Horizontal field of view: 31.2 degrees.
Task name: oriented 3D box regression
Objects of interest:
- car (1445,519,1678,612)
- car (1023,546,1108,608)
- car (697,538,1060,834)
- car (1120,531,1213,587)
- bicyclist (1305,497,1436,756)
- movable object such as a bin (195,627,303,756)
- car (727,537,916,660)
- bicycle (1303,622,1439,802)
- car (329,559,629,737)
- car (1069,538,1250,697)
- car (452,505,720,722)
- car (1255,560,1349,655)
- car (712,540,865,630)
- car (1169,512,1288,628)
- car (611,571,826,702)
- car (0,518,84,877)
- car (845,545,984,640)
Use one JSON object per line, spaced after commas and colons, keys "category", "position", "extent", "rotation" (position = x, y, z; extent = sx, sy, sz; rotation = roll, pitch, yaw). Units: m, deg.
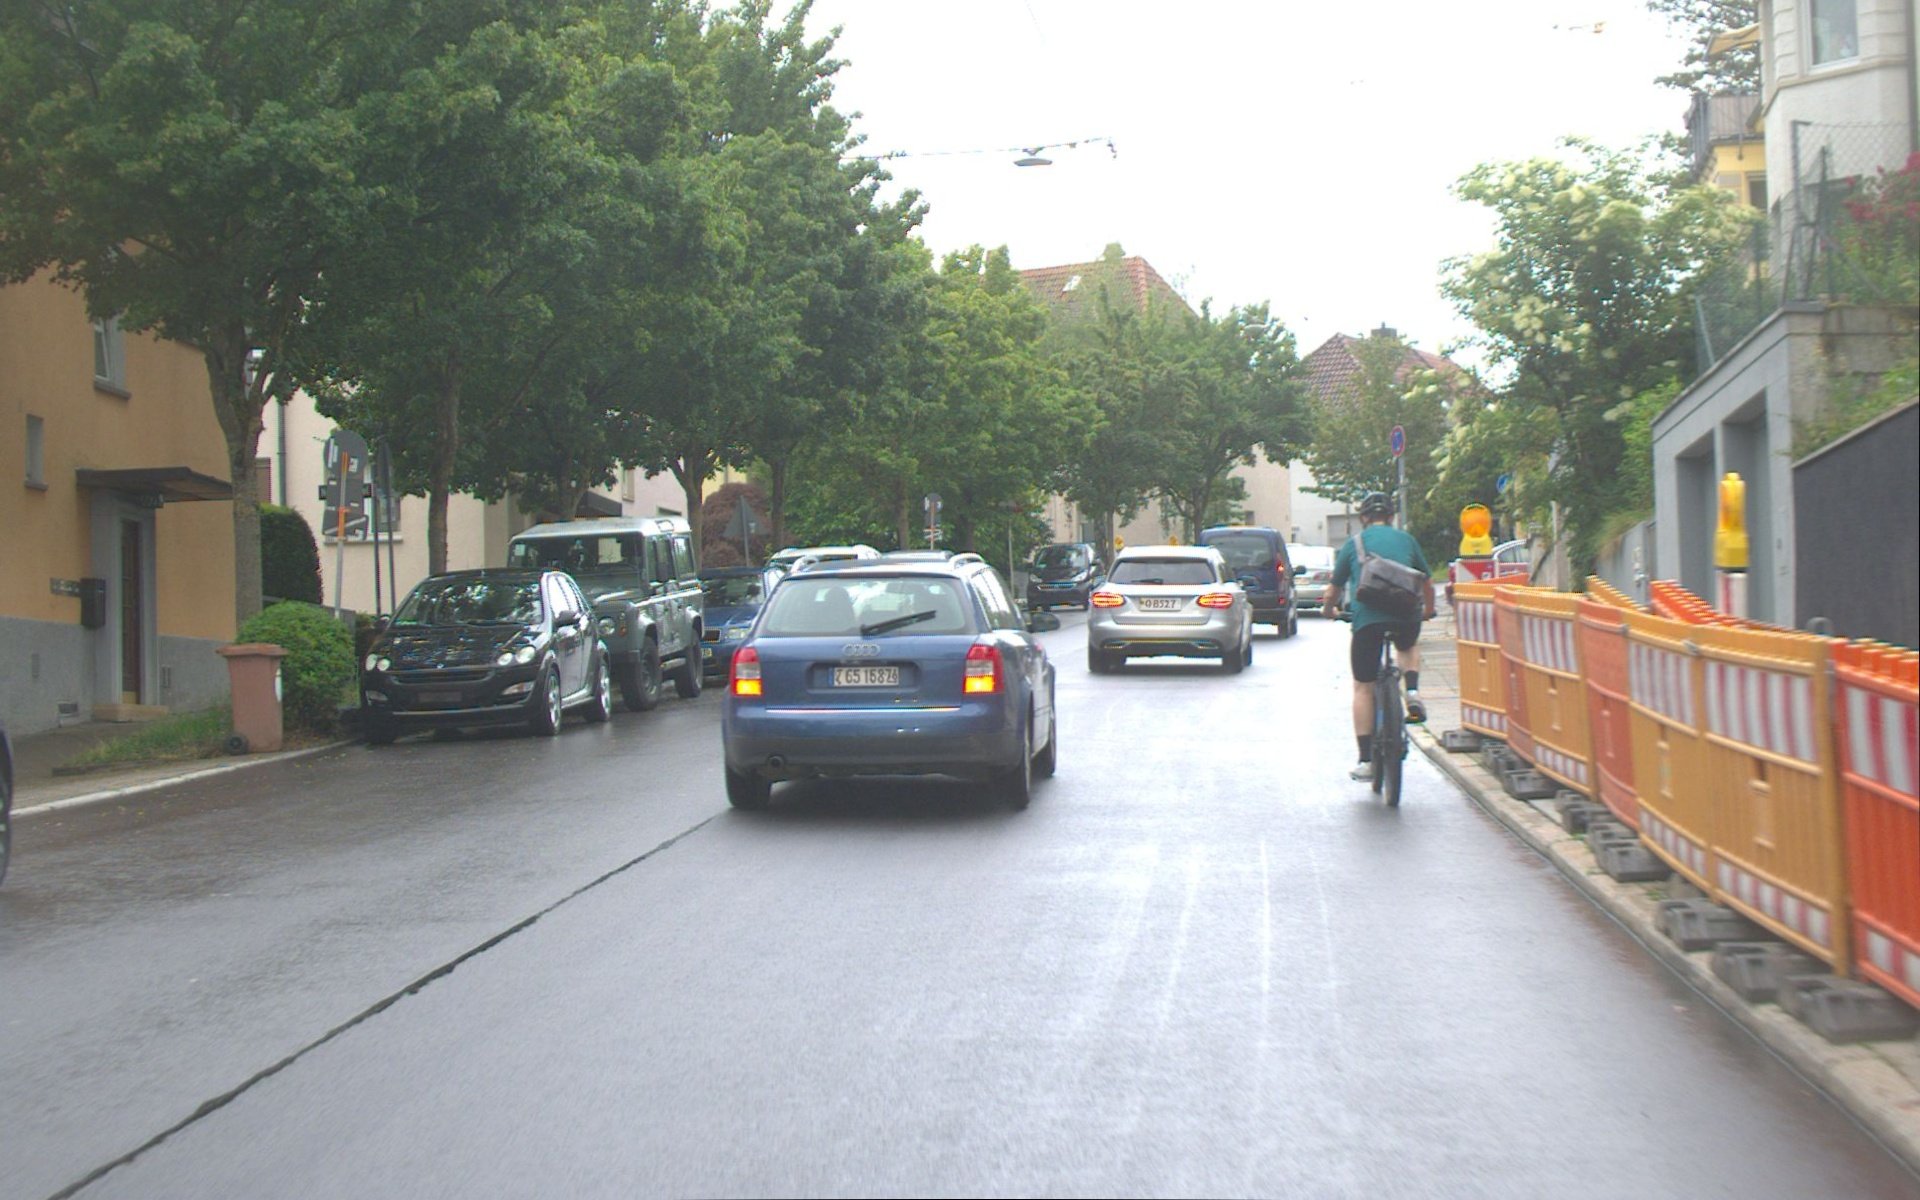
{"category": "car", "position": [10.753, -0.620, 61.399], "extent": [3.989, 1.461, 1.738], "rotation": [-2, 2, 12]}
{"category": "car", "position": [2.457, -0.544, 79.437], "extent": [1.475, 1.291, 3.219], "rotation": [2, 3, 10]}
{"category": "car", "position": [-0.389, 0.428, 20.650], "extent": [1.734, 1.461, 4.000], "rotation": [1, 3, 5]}
{"category": "car", "position": [5.941, -1.197, 98.412], "extent": [1.735, 1.461, 3.997], "rotation": [2, 3, 17]}
{"category": "bicyclist", "position": [2.376, 0.145, 19.985], "extent": [0.725, 1.467, 0.886], "rotation": [0, 1, 5]}
{"category": "movable object such as a bin", "position": [-5.992, 0.765, 28.989], "extent": [0.682, 1.008, 0.708], "rotation": [-5, 1, -1]}
{"category": "car", "position": [-1.947, -0.036, 49.656], "extent": [1.769, 1.621, 4.688], "rotation": [-2, 0, 9]}
{"category": "bicycle", "position": [2.377, 0.628, 20.016], "extent": [0.730, 0.961, 1.670], "rotation": [0, 1, 5]}
{"category": "car", "position": [-4.277, 0.385, 31.207], "extent": [1.768, 1.431, 4.347], "rotation": [-2, 1, 4]}
{"category": "car", "position": [2.397, 0.154, 40.521], "extent": [1.976, 1.629, 4.235], "rotation": [1, 3, 5]}
{"category": "car", "position": [-3.883, 0.076, 36.556], "extent": [1.792, 2.042, 4.781], "rotation": [-4, 1, 5]}
{"category": "car", "position": [7.199, 0.137, 72.113], "extent": [1.734, 1.762, 4.234], "rotation": [2, 3, 8]}
{"category": "car", "position": [-4.067, -0.360, 81.766], "extent": [3.211, 1.734, 1.479], "rotation": [-7, 1, 10]}
{"category": "car", "position": [4.530, -0.540, 57.650], "extent": [1.734, 1.762, 4.234], "rotation": [2, 3, 7]}
{"category": "car", "position": [-2.980, 0.423, 43.387], "extent": [1.768, 1.382, 4.633], "rotation": [-2, 2, 7]}
{"category": "car", "position": [-5.351, 0.526, 14.706], "extent": [1.768, 1.629, 4.109], "rotation": [-4, 1, 4]}
{"category": "car", "position": [-0.756, -0.141, 60.204], "extent": [1.769, 1.534, 4.006], "rotation": [-2, 0, 8]}
